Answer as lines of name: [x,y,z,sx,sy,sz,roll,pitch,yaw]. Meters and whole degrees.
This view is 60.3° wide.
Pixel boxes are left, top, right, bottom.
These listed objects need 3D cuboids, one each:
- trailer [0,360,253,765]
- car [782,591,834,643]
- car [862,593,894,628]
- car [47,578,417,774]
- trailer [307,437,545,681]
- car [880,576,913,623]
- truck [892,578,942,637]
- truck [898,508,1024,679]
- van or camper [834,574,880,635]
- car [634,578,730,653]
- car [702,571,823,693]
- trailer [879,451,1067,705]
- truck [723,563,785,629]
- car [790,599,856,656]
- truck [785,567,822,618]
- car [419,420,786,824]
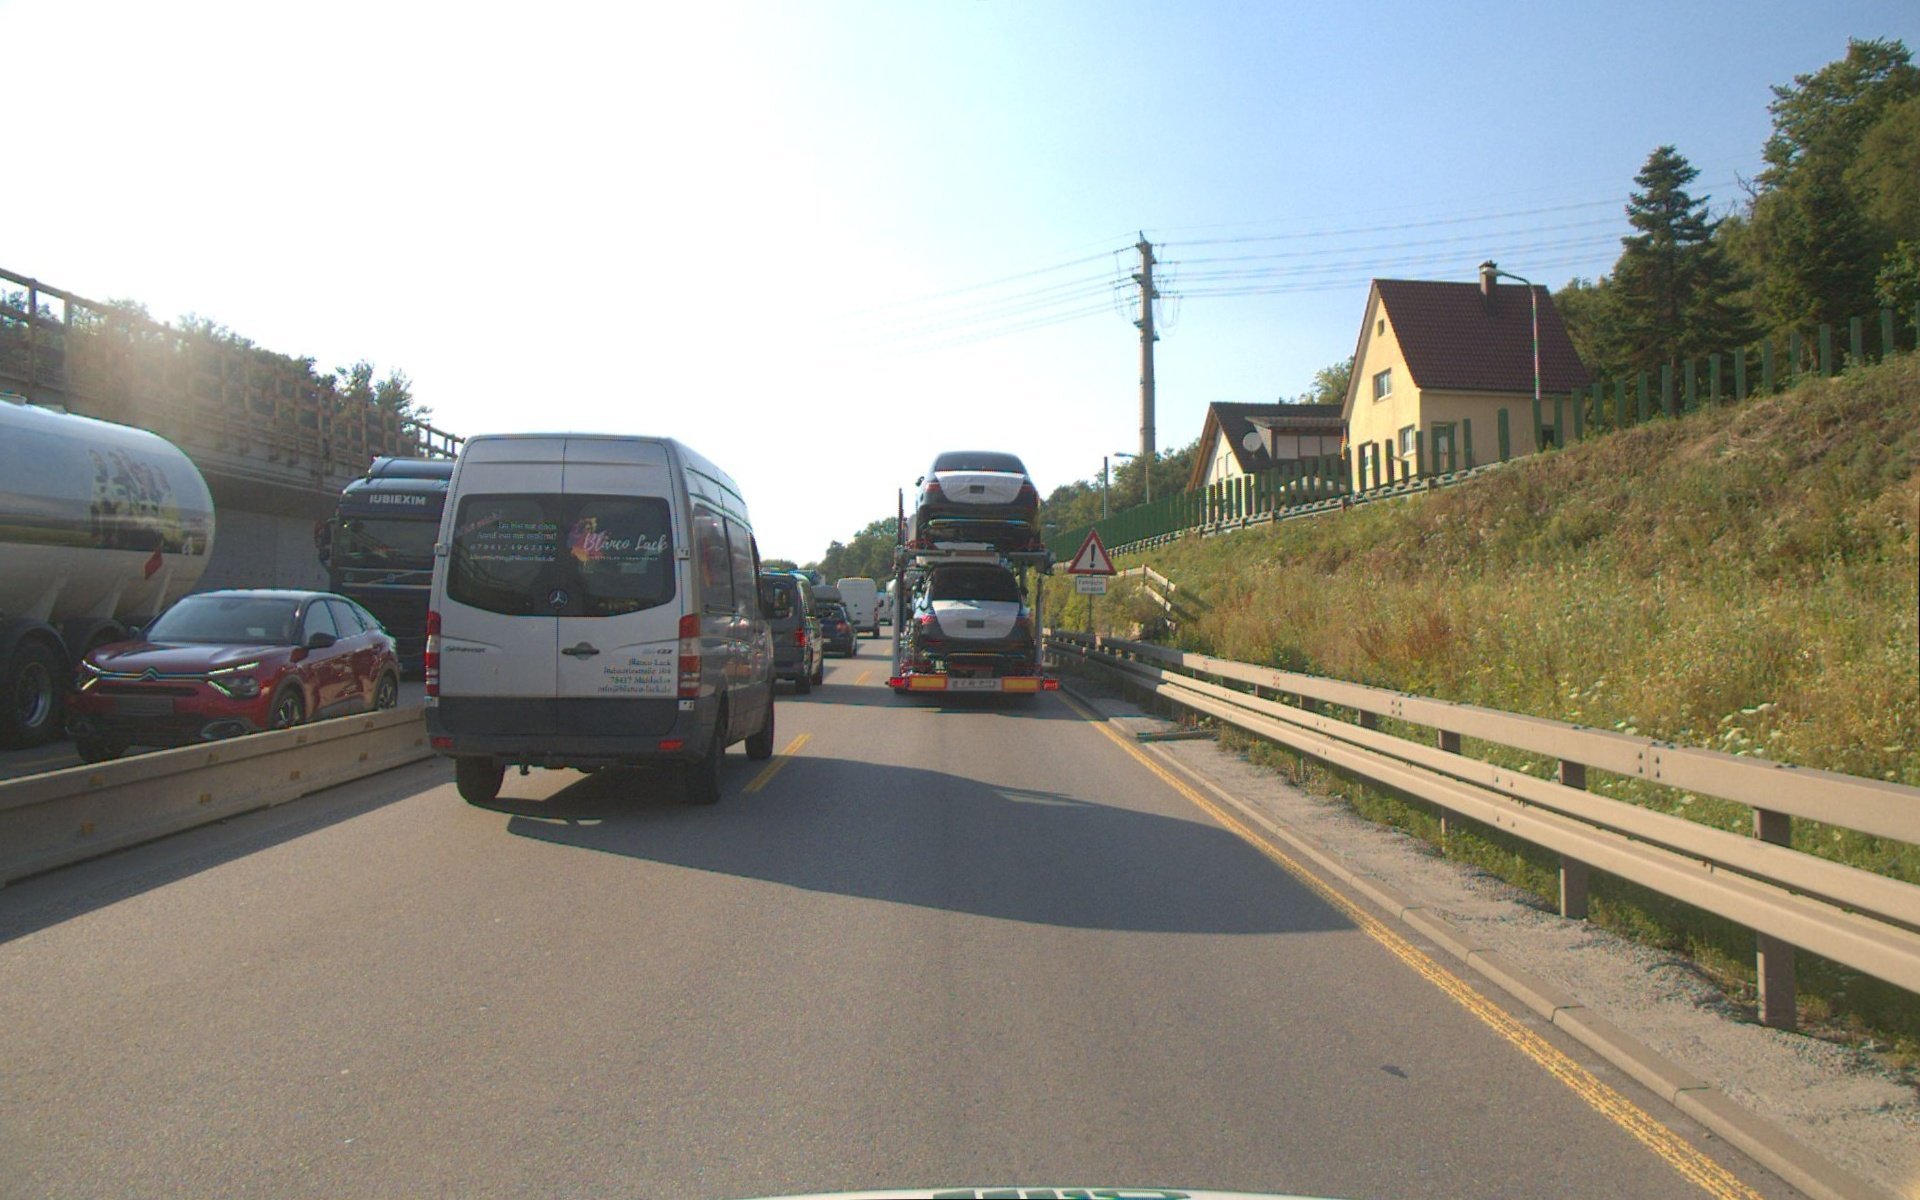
trailer: [-9.769,-0.350,14.589,2.505,3.588,10.678,1,-1,-1]
car: [-7.816,0.880,85.234,2.422,2.578,3.998,0,-1,-2]
car: [-5.143,0.685,104.101,1.848,2.137,3.764,1,0,-2]
car: [-6.690,0.626,15.757,1.690,1.584,4.296,1,0,-1]
trailer: [-10.088,-0.727,31.914,2.708,4.214,5.974,1,0,-1]
car: [-7.374,-0.050,190.092,3.377,5.123,9.644,1,0,-4]
truck: [-3.562,0.644,139.638,3.982,4.761,10.589,0,0,-1]
truck: [-0.035,-0.080,38.800,2.628,3.597,7.191,1,-1,-1]
van or camper: [-4.595,0.249,74.628,1.929,2.637,5.038,1,-1,-3]
car: [-6.612,0.392,39.721,1.607,1.674,4.687,1,-1,-2]
car: [-3.363,0.565,28.790,1.772,1.937,3.997,1,-1,-3]
trailer: [0.077,-0.206,31.276,2.628,3.597,15.284,1,-1,-1]
truck: [-11.576,-0.162,93.672,2.660,3.484,8.137,-2,-1,-2]
car: [-3.919,0.755,47.737,1.691,1.549,3.971,1,0,-2]
truck: [-13.672,-0.667,145.043,2.572,4.184,9.622,-2,0,-3]
car: [-2.680,0.142,13.830,1.953,2.694,5.529,0,0,-1]
